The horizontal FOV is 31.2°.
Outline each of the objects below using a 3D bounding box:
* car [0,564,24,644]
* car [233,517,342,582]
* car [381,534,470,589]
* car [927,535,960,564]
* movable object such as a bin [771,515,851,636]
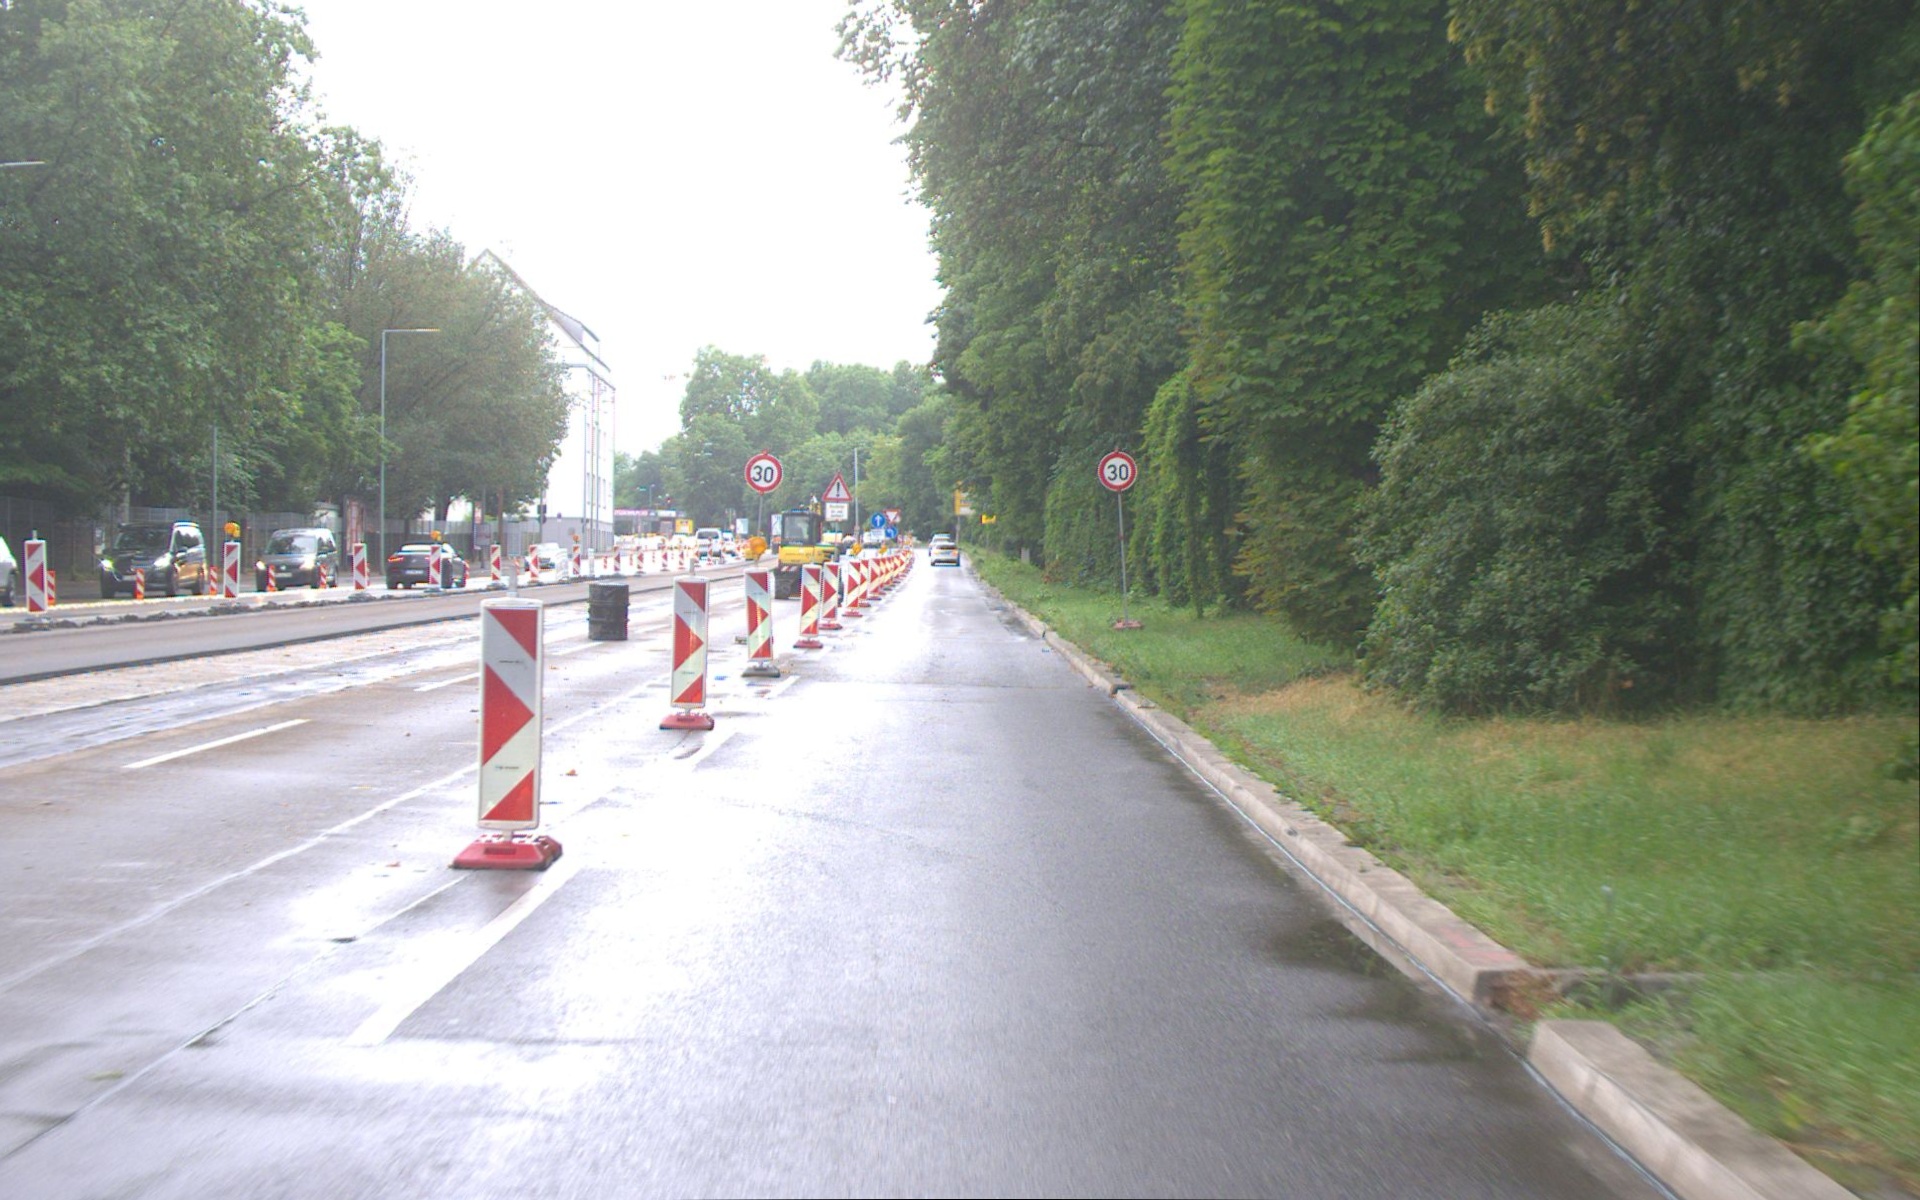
[{"bbox_3d":[-21.474,0.060,72.945,1.937,1.700,4.936,2,0,-1],"label":"car"},{"bbox_3d":[-19.442,-1.441,99.560,1.993,1.774,4.954,2,0,2],"label":"car"},{"bbox_3d":[-15.605,-1.112,100.517,1.993,1.514,4.000,2,0,-1],"label":"car"},{"bbox_3d":[-1.003,-3.138,212.471,1.993,1.667,4.000,2,0,0],"label":"car"},{"bbox_3d":[-4.310,-0.692,100.228,1.993,3.356,5.982,2,0,0],"label":"movable object such as a bin"}]
